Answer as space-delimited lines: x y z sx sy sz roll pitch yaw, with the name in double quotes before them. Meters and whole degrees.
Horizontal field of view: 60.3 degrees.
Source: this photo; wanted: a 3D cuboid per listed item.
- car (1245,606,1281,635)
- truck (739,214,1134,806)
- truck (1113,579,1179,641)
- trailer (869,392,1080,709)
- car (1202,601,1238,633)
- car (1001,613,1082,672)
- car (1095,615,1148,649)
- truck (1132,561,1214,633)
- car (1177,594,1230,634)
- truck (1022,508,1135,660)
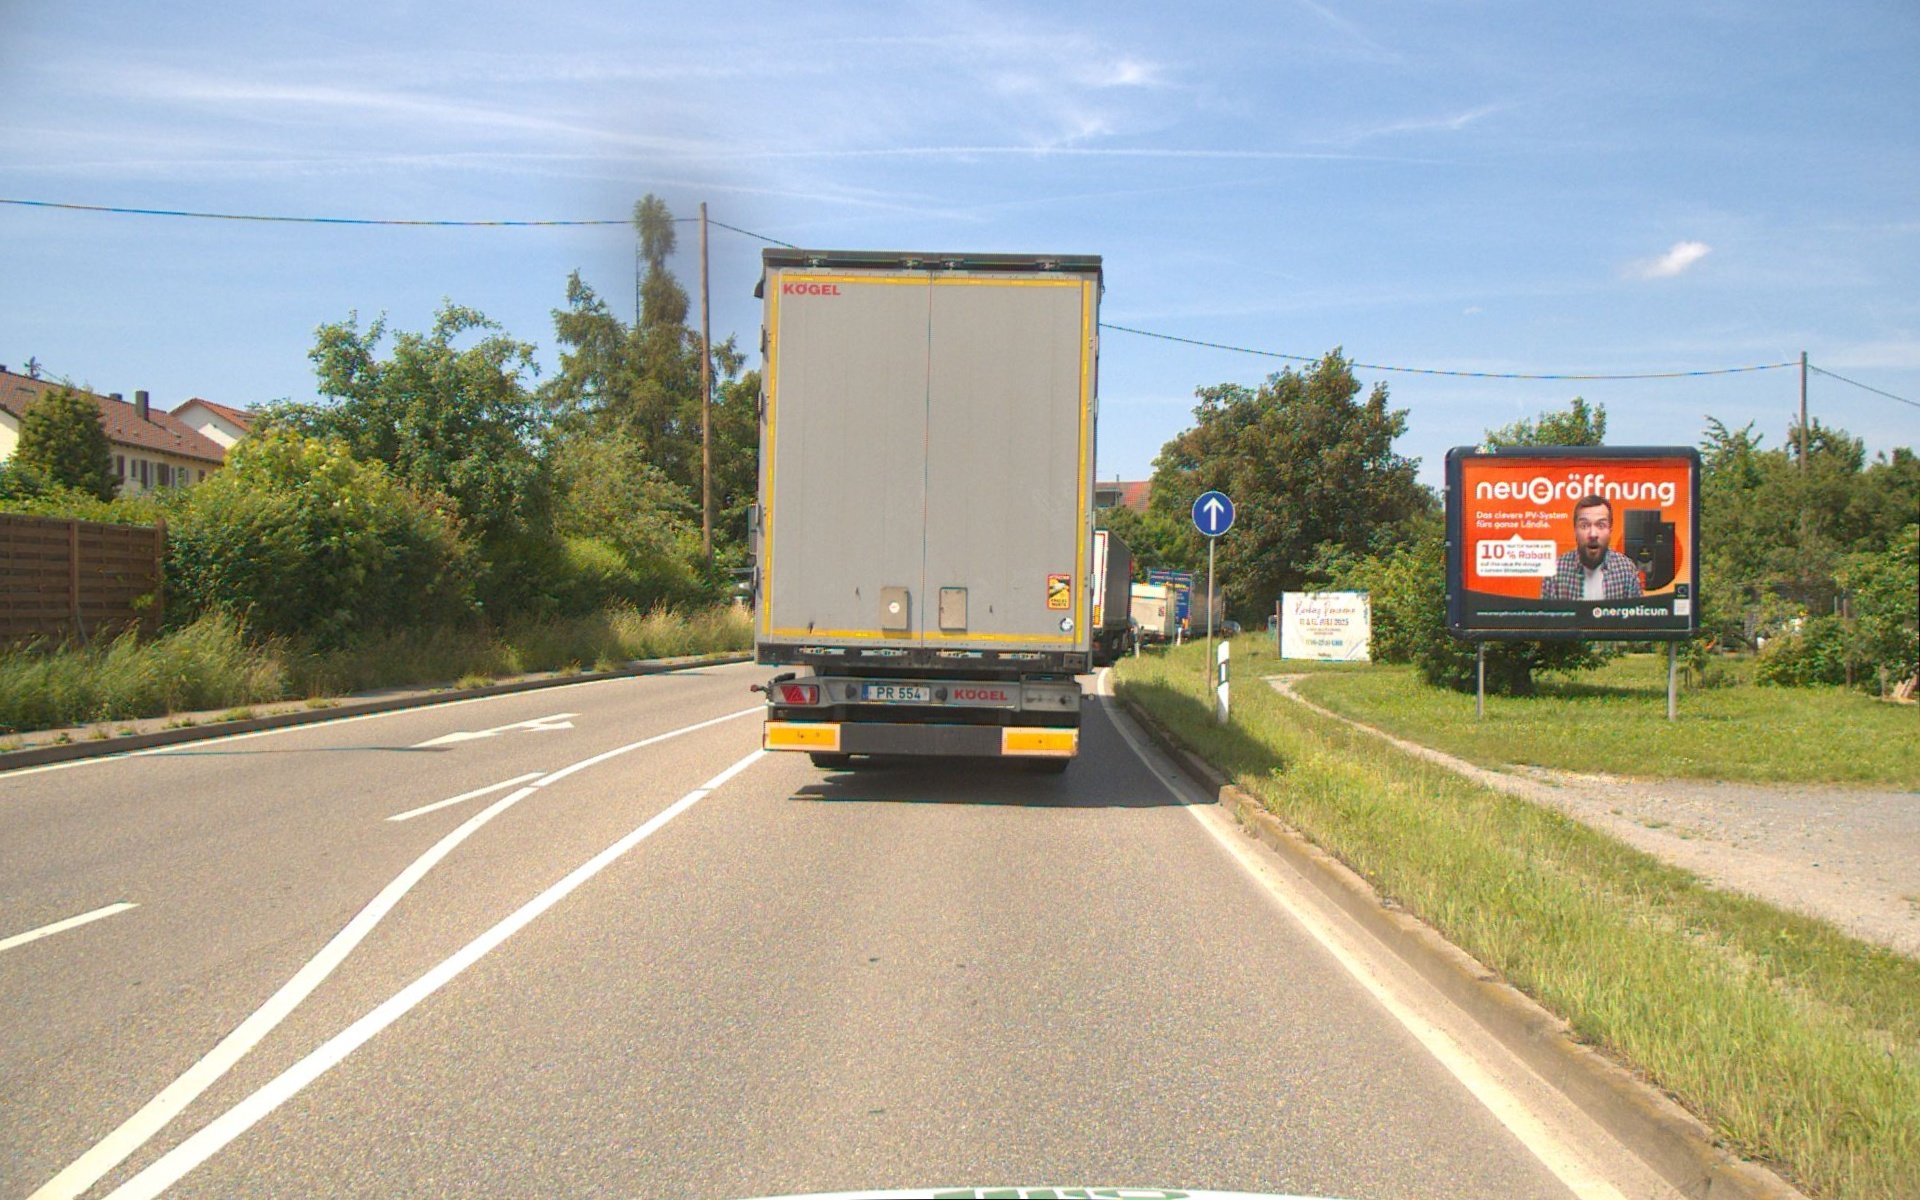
"car" 21.922 1.500 119.555 1.952 2.049 4.001 1 -1 19
"truck" 0.026 -0.678 17.588 2.763 4.200 11.446 1 0 2
"truck" 9.102 0.520 80.475 2.489 2.852 6.036 1 -1 13
"trailer" 0.289 -0.678 25.277 2.766 4.183 6.545 1 0 2
"car" 17.036 1.136 108.127 1.951 2.049 4.003 1 -1 14
"car" 2.092 1.043 41.574 1.780 1.370 3.850 1 -1 6
"car" 7.079 1.391 72.222 1.951 1.400 4.003 1 -1 11
"truck" 11.735 -0.185 90.347 3.360 3.667 9.361 1 1 14
"car" 14.805 0.808 100.362 2.478 2.317 6.386 1 0 14
"truck" 4.293 -0.363 56.095 2.701 4.364 16.427 1 -1 8
